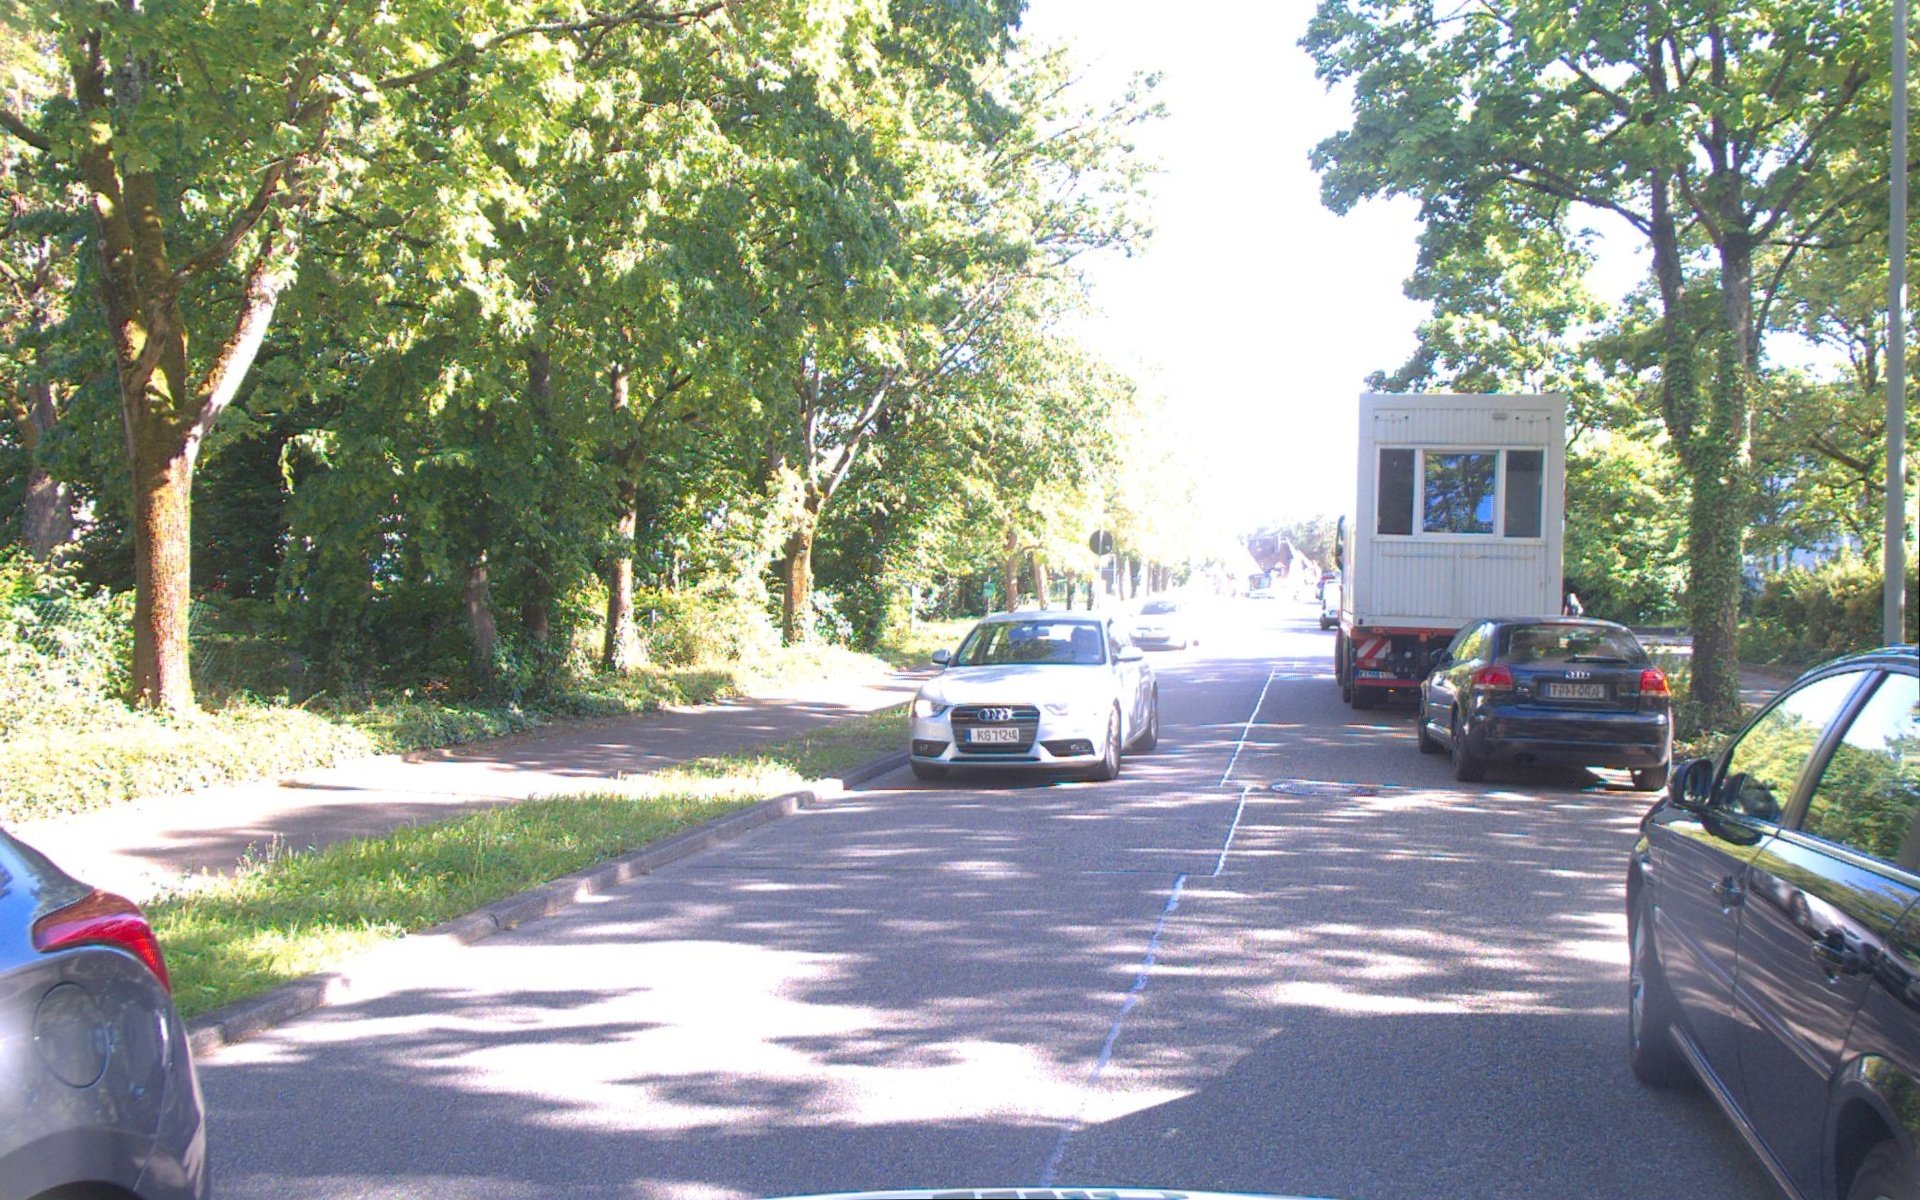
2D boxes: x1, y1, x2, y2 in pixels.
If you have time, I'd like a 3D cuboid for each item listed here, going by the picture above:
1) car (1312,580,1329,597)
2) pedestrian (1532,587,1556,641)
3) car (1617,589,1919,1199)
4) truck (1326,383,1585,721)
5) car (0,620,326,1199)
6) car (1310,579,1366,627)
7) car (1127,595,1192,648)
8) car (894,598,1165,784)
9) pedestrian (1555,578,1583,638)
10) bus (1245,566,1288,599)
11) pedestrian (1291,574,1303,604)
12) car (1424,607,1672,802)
[{"bbox_3d":[40.515,-1.329,186.028,1.743,1.840,4.004,-1,0,11],"label":"car"},{"bbox_3d":[18.231,0.431,51.628,0.585,1.639,0.601,-1,0,9],"label":"pedestrian"},{"bbox_3d":[2.624,0.754,3.518,1.711,1.506,4.033,1,0,14],"label":"car"},{"bbox_3d":[7.139,-0.656,25.222,2.714,4.065,10.357,1,1,11],"label":"truck"},{"bbox_3d":[-2.385,0.820,1.062,1.718,1.479,4.247,-1,0,10],"label":"car"},{"bbox_3d":[15.216,0.093,66.726,1.905,1.875,4.003,0,0,9],"label":"car"},{"bbox_3d":[5.782,0.598,48.227,1.767,1.445,3.962,-2,0,5],"label":"car"},{"bbox_3d":[0.791,0.744,15.386,1.748,1.441,4.108,-1,0,13],"label":"car"},{"bbox_3d":[18.923,0.248,51.393,0.683,1.844,0.701,-1,0,9],"label":"pedestrian"},{"bbox_3d":[33.106,-1.912,178.360,3.978,3.407,9.808,-1,0,14],"label":"bus"},{"bbox_3d":[24.832,-0.822,121.862,0.736,2.150,0.799,2,0,15],"label":"pedestrian"},{"bbox_3d":[5.221,0.832,15.136,1.605,1.445,4.004,1,1,12],"label":"car"}]
